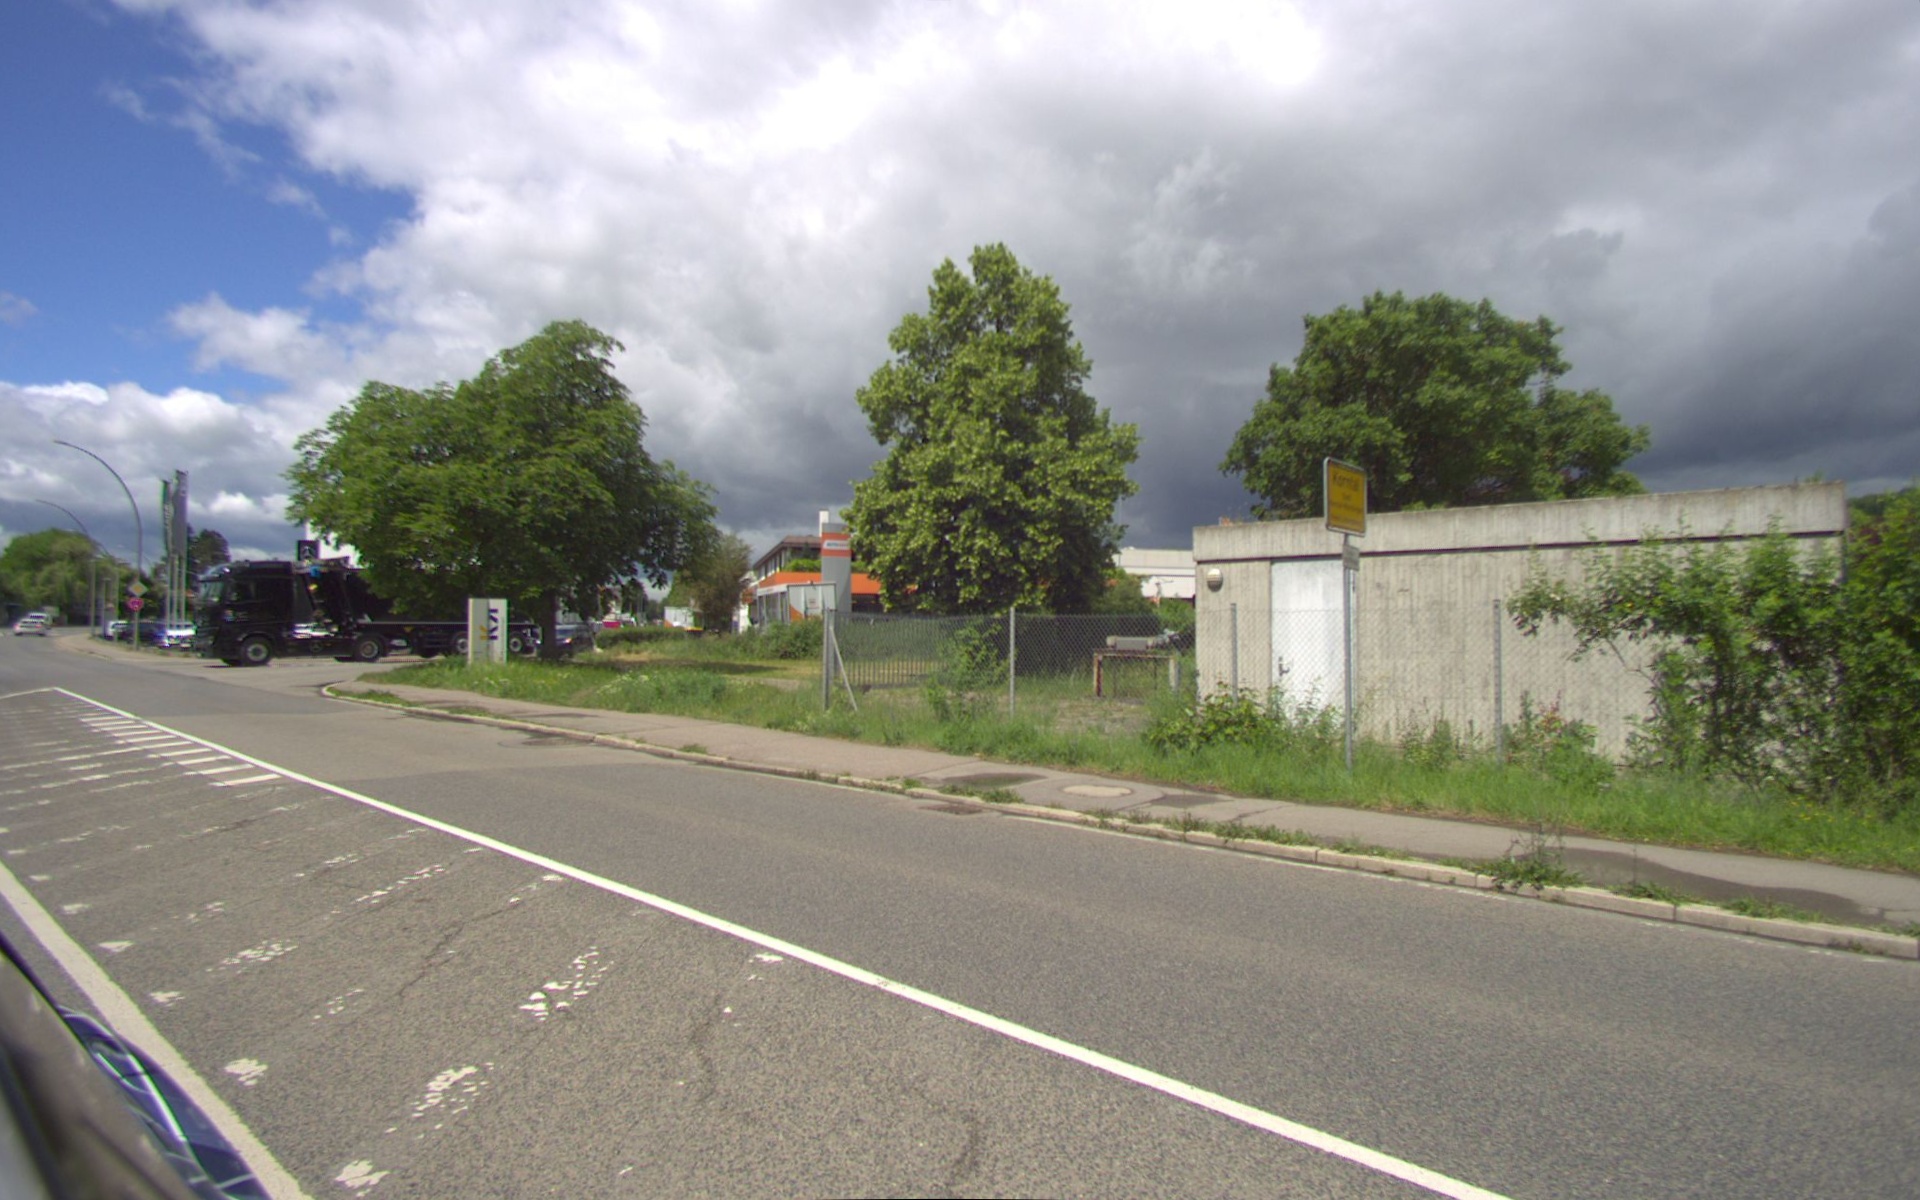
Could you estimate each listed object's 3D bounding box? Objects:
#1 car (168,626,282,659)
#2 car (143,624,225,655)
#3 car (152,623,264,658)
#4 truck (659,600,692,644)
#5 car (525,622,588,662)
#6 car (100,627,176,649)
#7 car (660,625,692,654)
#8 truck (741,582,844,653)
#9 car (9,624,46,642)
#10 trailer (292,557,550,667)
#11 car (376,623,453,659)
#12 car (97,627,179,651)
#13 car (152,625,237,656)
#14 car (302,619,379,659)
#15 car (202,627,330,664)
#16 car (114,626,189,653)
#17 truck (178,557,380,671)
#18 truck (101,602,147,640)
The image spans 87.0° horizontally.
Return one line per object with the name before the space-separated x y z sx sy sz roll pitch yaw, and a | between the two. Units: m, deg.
car | -35.091 2.013 48.458 1.780 1.477 4.307 -2 -2 15
car | -44.700 2.269 58.436 1.864 1.681 4.580 -1 -2 -10
car | -37.722 2.021 50.896 1.917 1.690 4.282 0 -2 12
truck | -23.519 1.849 83.971 2.406 3.449 7.842 1 -2 -15
car | -20.158 2.077 50.720 1.927 1.890 4.123 1 -2 -7
car | -59.814 2.762 73.668 3.895 1.506 1.806 1 -3 -5
car | -19.099 2.630 67.908 1.802 1.860 4.688 1 -2 -18
truck | -8.235 0.929 48.646 2.618 3.073 8.618 2 -2 -25
car | -79.488 2.788 86.301 1.968 1.461 4.434 4 -4 -39
trailer | -22.300 0.621 42.715 3.303 4.114 9.380 0 -2 27
car | -25.983 1.946 48.137 4.765 1.614 1.777 -2 -4 44
car | -67.468 3.223 83.130 4.880 1.852 1.896 1 -3 -8
car | -42.056 2.241 55.737 1.843 1.578 4.530 -1 -2 -10
car | -28.357 1.750 46.275 4.601 1.734 1.909 -2 -3 44
car | -32.764 2.126 47.953 1.975 1.617 4.708 1 -2 22
car | -53.346 2.591 66.781 4.317 1.637 1.793 -1 1 19
truck | -25.134 0.591 37.551 2.980 3.853 5.501 -1 -3 38
truck | -108.215 2.736 131.169 2.931 4.697 8.204 2 -2 -29
